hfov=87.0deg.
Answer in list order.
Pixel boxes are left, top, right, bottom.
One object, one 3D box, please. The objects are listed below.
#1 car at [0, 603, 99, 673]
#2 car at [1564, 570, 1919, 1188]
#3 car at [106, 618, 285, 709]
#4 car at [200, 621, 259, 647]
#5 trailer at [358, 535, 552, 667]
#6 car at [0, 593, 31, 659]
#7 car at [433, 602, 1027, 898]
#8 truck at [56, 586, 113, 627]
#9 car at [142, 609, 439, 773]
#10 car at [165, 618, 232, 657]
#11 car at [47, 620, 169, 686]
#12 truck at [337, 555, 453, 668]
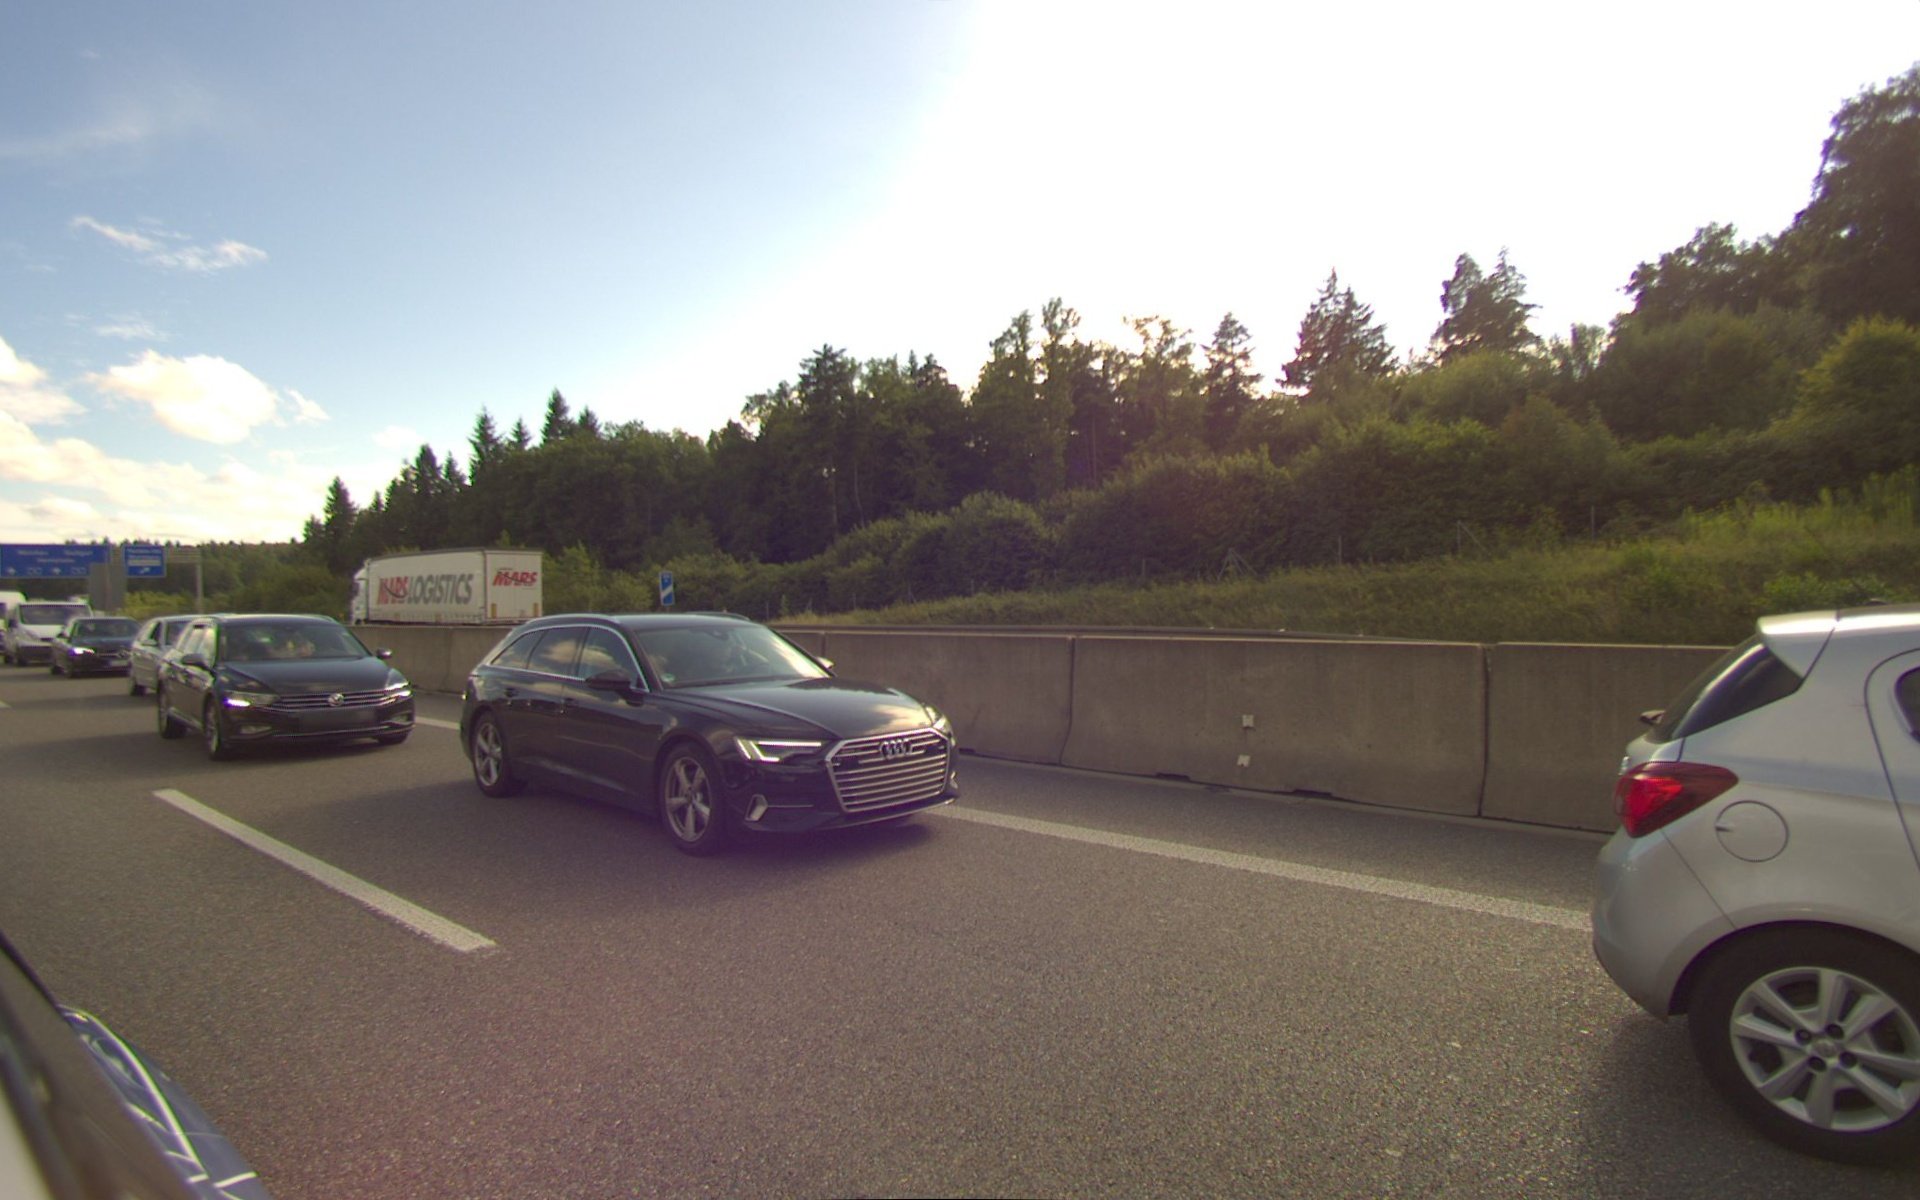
[{"bbox_3d":[-28.556,1.133,31.587,4.846,1.980,1.922,-1,0,42],"label":"car"},{"bbox_3d":[3.824,0.648,2.219,4.039,1.477,1.728,-1,-1,42],"label":"car"},{"bbox_3d":[-14.157,1.079,18.629,4.665,1.442,1.785,-1,0,42],"label":"car"},{"bbox_3d":[-43.270,1.985,59.942,4.322,1.438,1.934,-1,0,41],"label":"car"},{"bbox_3d":[-23.653,0.065,46.749,13.829,5.320,3.010,0,0,41],"label":"trailer"},{"bbox_3d":[-39.477,1.051,41.102,5.860,2.591,2.027,-1,-2,42],"label":"car"},{"bbox_3d":[-1.983,0.801,7.480,4.851,1.483,1.862,-1,0,43],"label":"car"},{"bbox_3d":[-98.603,0.693,113.893,13.904,4.387,2.902,0,0,41],"label":"truck"},{"bbox_3d":[-7.771,0.877,11.550,4.569,1.488,1.890,-1,-1,44],"label":"car"},{"bbox_3d":[-37.937,1.815,50.408,4.322,1.823,1.833,-1,0,41],"label":"car"},{"bbox_3d":[-21.114,1.247,25.026,3.993,1.442,1.785,-1,0,42],"label":"car"},{"bbox_3d":[-28.628,0.548,51.164,6.880,5.292,3.008,-1,0,41],"label":"truck"}]
